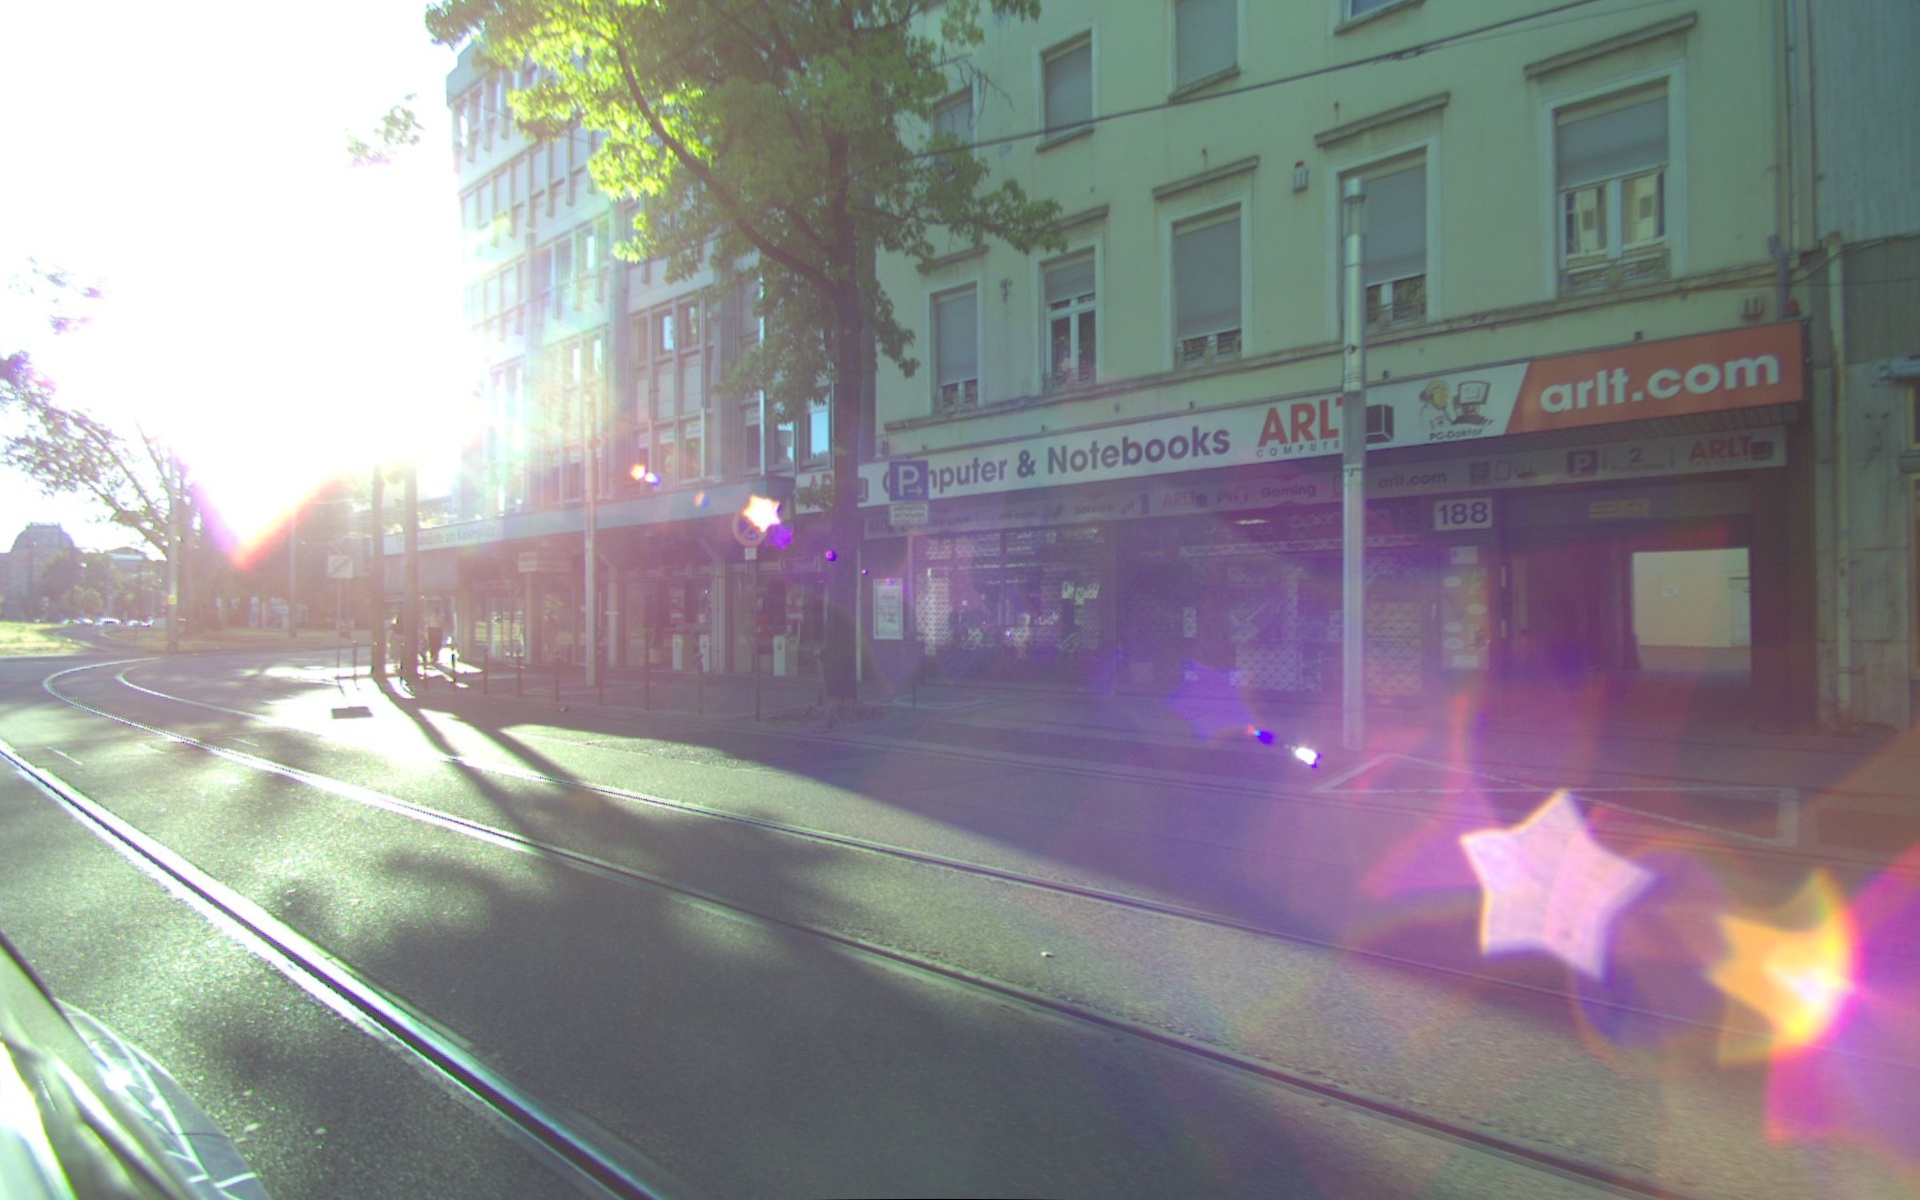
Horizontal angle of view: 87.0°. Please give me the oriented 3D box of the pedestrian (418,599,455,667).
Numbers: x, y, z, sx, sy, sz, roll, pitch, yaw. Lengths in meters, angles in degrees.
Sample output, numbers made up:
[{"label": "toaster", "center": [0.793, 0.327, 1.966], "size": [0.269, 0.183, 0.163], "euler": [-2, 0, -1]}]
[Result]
[{"label": "pedestrian", "center": [-15.901, 0.980, 30.752], "size": [0.734, 2.029, 0.788], "euler": [-1, -1, 42]}]

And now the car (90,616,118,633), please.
[{"label": "car", "center": [-109.941, 3.137, 129.931], "size": [4.543, 2.029, 1.974], "euler": [-1, -1, 39]}]

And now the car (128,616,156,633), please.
[{"label": "car", "center": [-98.796, 2.963, 122.185], "size": [3.999, 2.029, 1.972], "euler": [-1, -2, 42]}]

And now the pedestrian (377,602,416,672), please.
[{"label": "pedestrian", "center": [-16.743, 1.083, 30.080], "size": [0.734, 2.029, 0.788], "euler": [-1, -1, 42]}]
